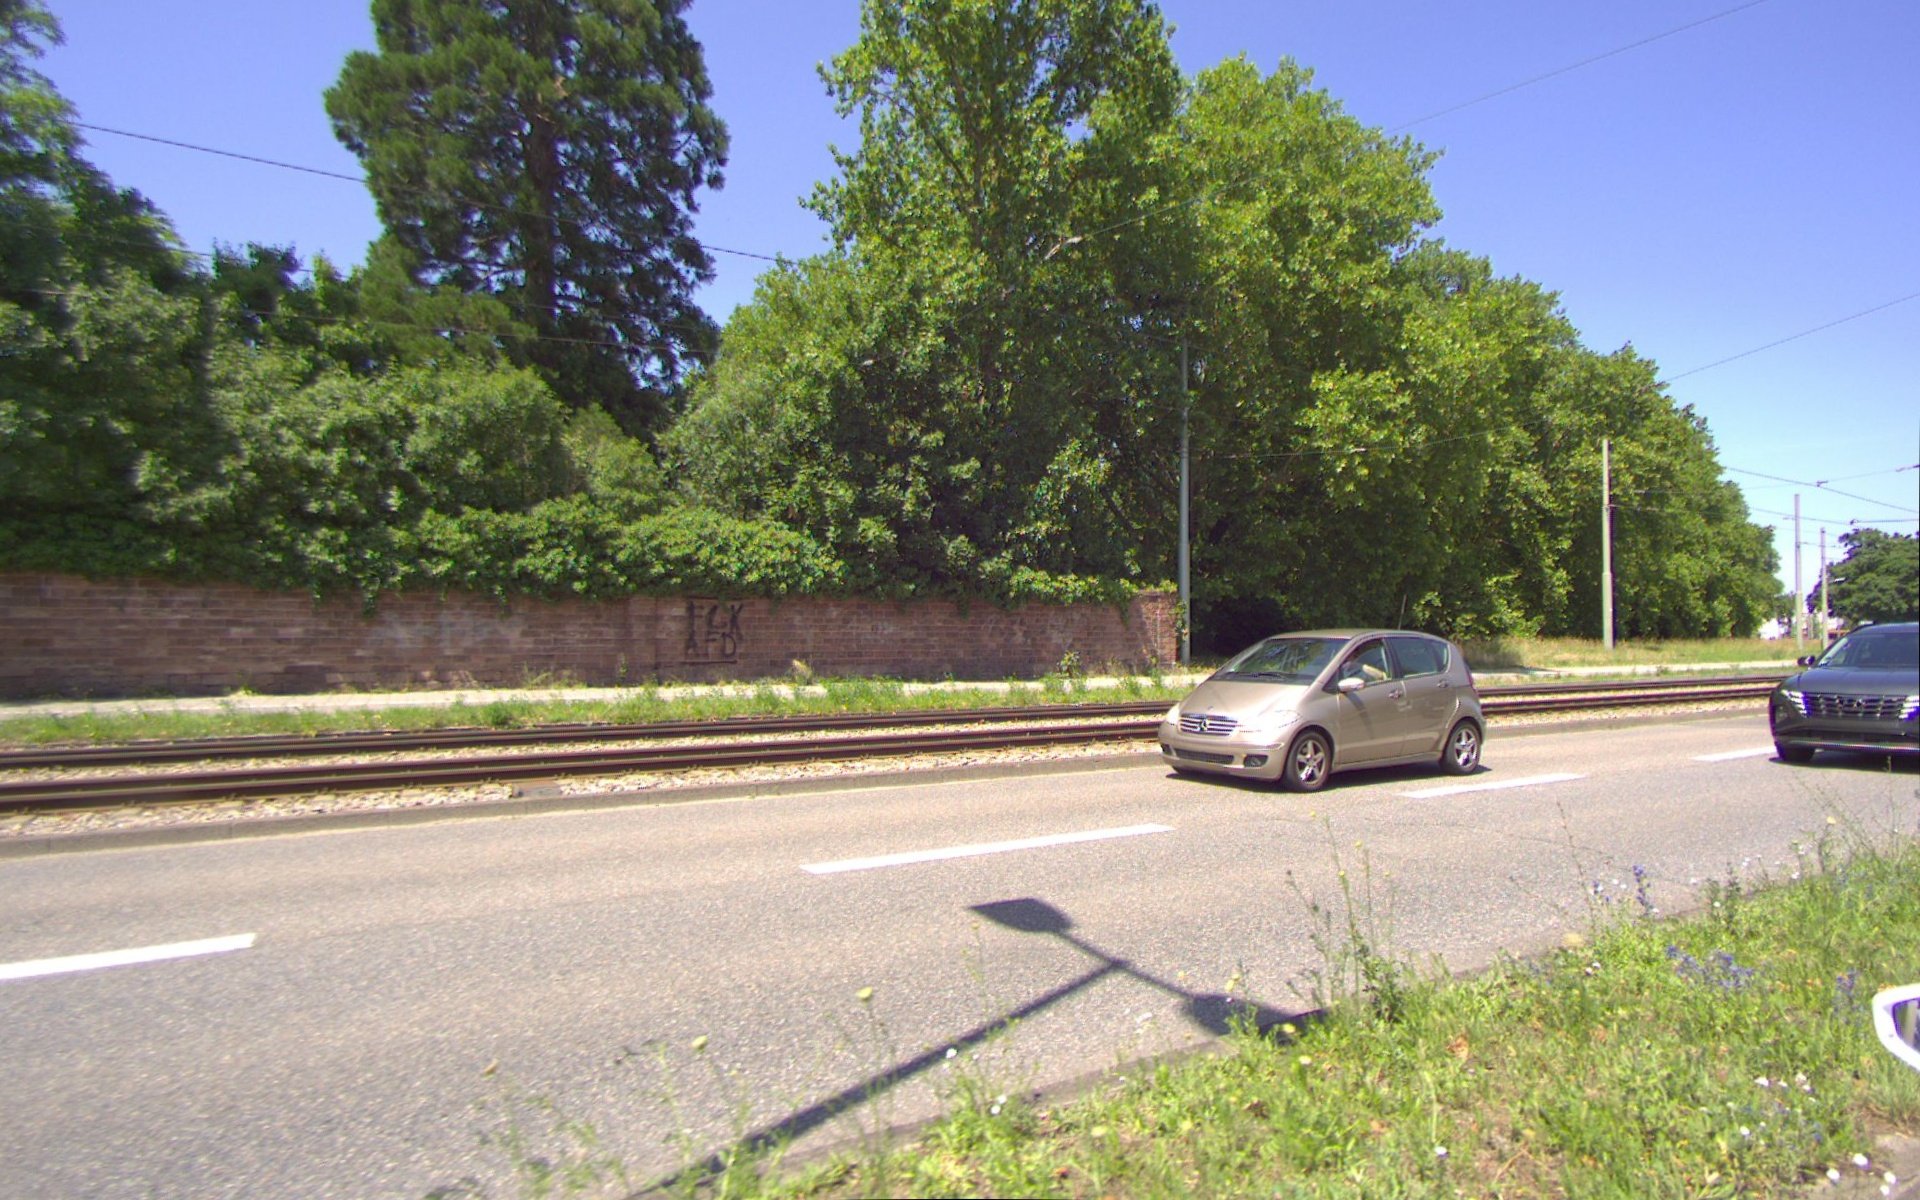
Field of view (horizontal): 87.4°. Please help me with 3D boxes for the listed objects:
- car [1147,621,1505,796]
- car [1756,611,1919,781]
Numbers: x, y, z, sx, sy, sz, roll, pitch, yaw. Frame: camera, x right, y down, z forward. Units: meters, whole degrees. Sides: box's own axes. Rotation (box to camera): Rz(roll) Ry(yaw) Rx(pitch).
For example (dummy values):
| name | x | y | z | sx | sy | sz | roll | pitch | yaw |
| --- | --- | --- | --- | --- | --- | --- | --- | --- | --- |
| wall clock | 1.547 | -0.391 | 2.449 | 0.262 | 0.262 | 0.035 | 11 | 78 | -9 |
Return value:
| name | x | y | z | sx | sy | sz | roll | pitch | yaw |
| --- | --- | --- | --- | --- | --- | --- | --- | --- | --- |
| car | 4.057 | 1.089 | 11.045 | 3.730 | 1.606 | 1.819 | 2 | -3 | -33 |
| car | 11.711 | 1.091 | 12.220 | 4.439 | 1.779 | 1.819 | 2 | -3 | -33 |
